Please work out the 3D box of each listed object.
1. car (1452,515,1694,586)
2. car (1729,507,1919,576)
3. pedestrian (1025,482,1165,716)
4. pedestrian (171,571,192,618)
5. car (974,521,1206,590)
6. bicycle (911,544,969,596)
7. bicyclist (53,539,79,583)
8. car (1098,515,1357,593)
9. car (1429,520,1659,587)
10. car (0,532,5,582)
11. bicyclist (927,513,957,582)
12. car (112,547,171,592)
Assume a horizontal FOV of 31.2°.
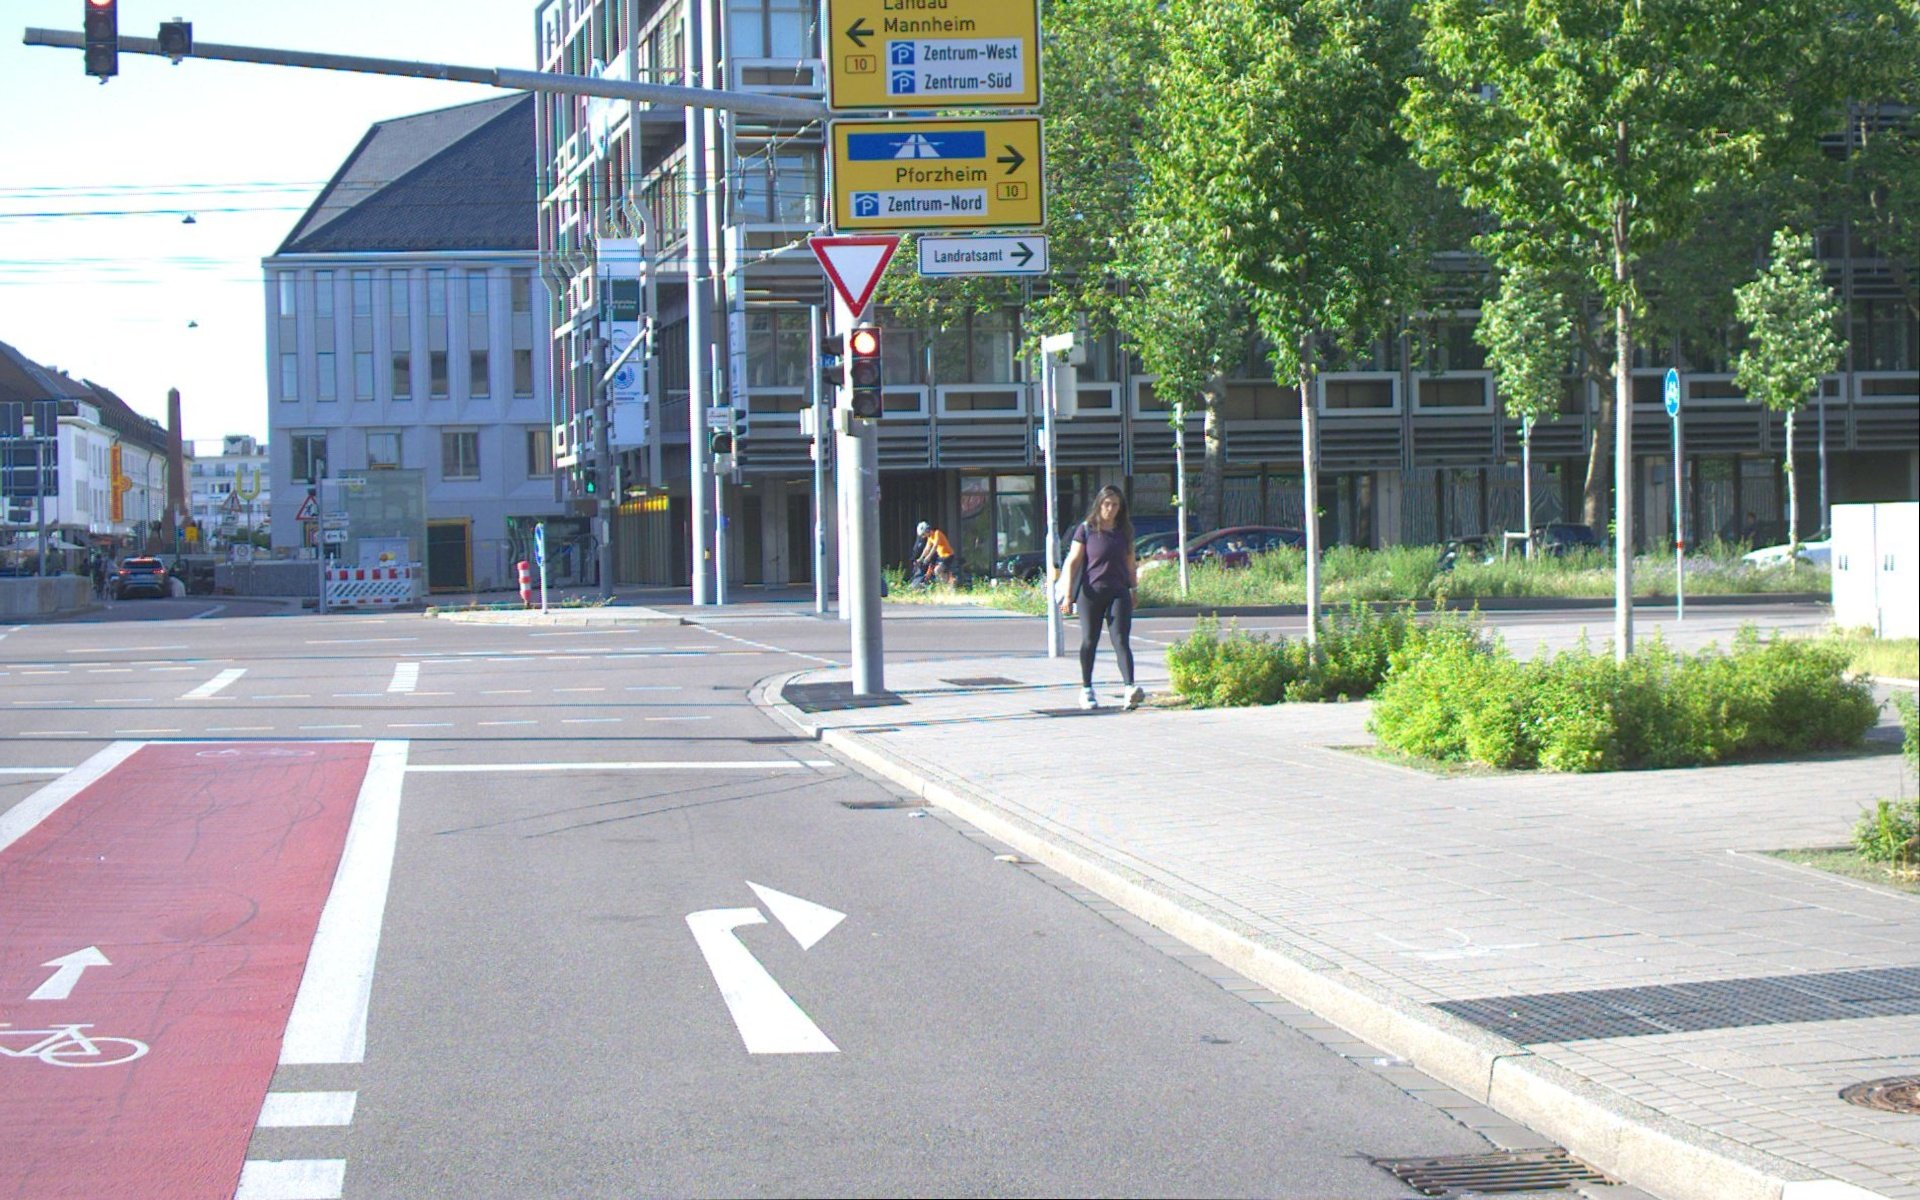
[{"bbox_3d":[12.974,-1.067,72.894,4.629,1.351,2.001,-1,3,-11],"label":"car"},{"bbox_3d":[19.132,-1.272,73.934,4.629,1.351,2.001,-1,3,-11],"label":"car"},{"bbox_3d":[1.050,-0.022,26.434,0.822,1.742,1.041,-2,1,14],"label":"pedestrian"},{"bbox_3d":[-28.576,-0.205,126.162,0.714,1.662,0.988,-1,1,-13],"label":"pedestrian"},{"bbox_3d":[2.781,-0.975,73.919,4.629,1.351,2.001,-1,3,-11],"label":"car"},{"bbox_3d":[-0.396,-0.586,66.787,1.076,0.967,0.458,-1,1,-6],"label":"bicycle"},{"bbox_3d":[-30.411,-1.323,116.935,0.746,1.456,0.767,-1,1,-10],"label":"bicyclist"},{"bbox_3d":[5.159,-0.905,66.521,4.629,1.351,2.001,-1,3,-11],"label":"car"},{"bbox_3d":[12.994,-1.052,76.555,4.629,1.351,2.001,-1,3,-11],"label":"car"},{"bbox_3d":[-31.423,-1.314,108.251,1.993,1.617,4.239,-2,1,-8],"label":"car"},{"bbox_3d":[-0.352,-1.023,66.787,0.508,1.333,0.453,-1,1,-5],"label":"bicyclist"},{"bbox_3d":[-29.761,-1.134,124.944,1.993,1.546,4.001,-1,1,-14],"label":"car"}]
